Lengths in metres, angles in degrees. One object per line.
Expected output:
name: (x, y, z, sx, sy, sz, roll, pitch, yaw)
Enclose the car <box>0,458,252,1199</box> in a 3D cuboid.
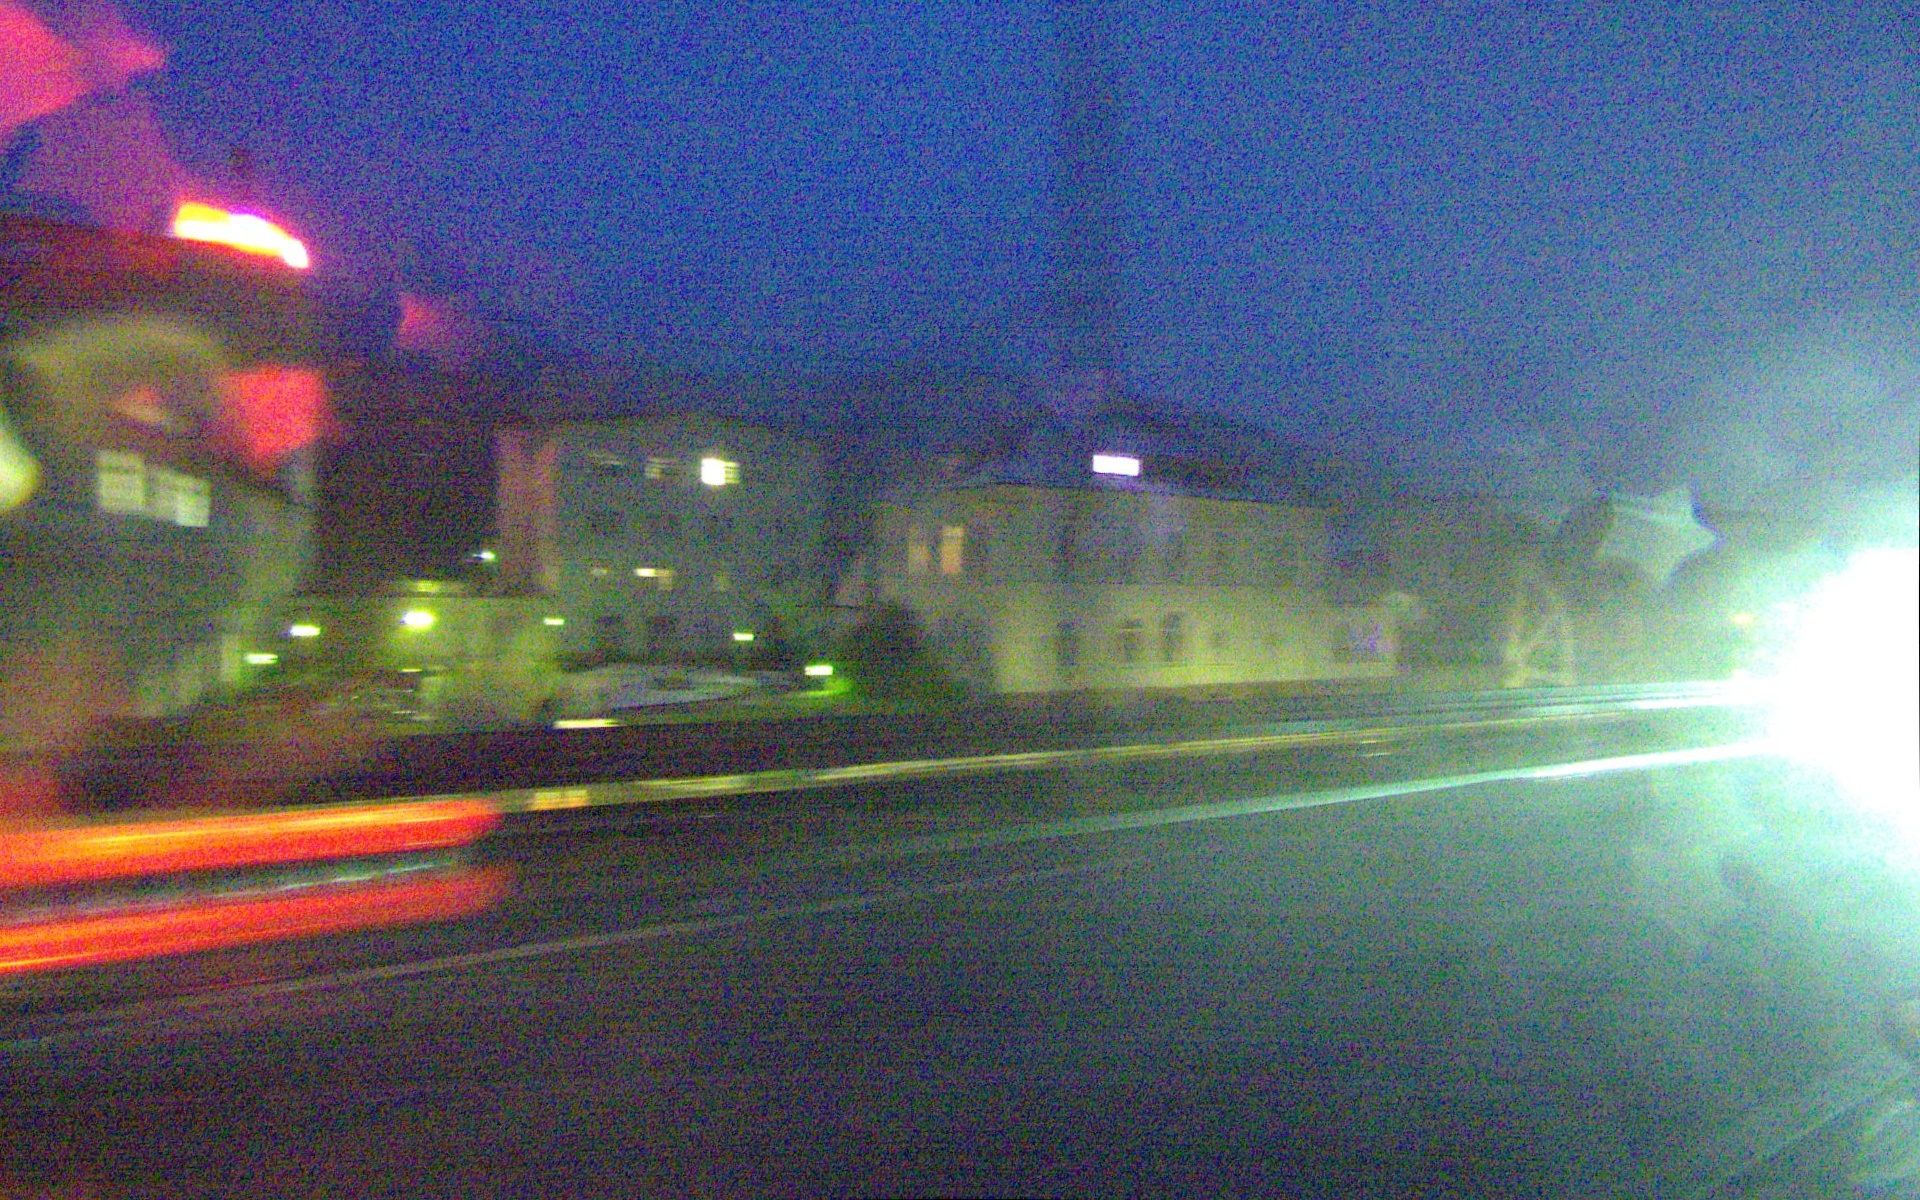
car: (-3.561, 0.540, 1.596, 3.802, 1.634, 1.859, 1, 0, -31)
